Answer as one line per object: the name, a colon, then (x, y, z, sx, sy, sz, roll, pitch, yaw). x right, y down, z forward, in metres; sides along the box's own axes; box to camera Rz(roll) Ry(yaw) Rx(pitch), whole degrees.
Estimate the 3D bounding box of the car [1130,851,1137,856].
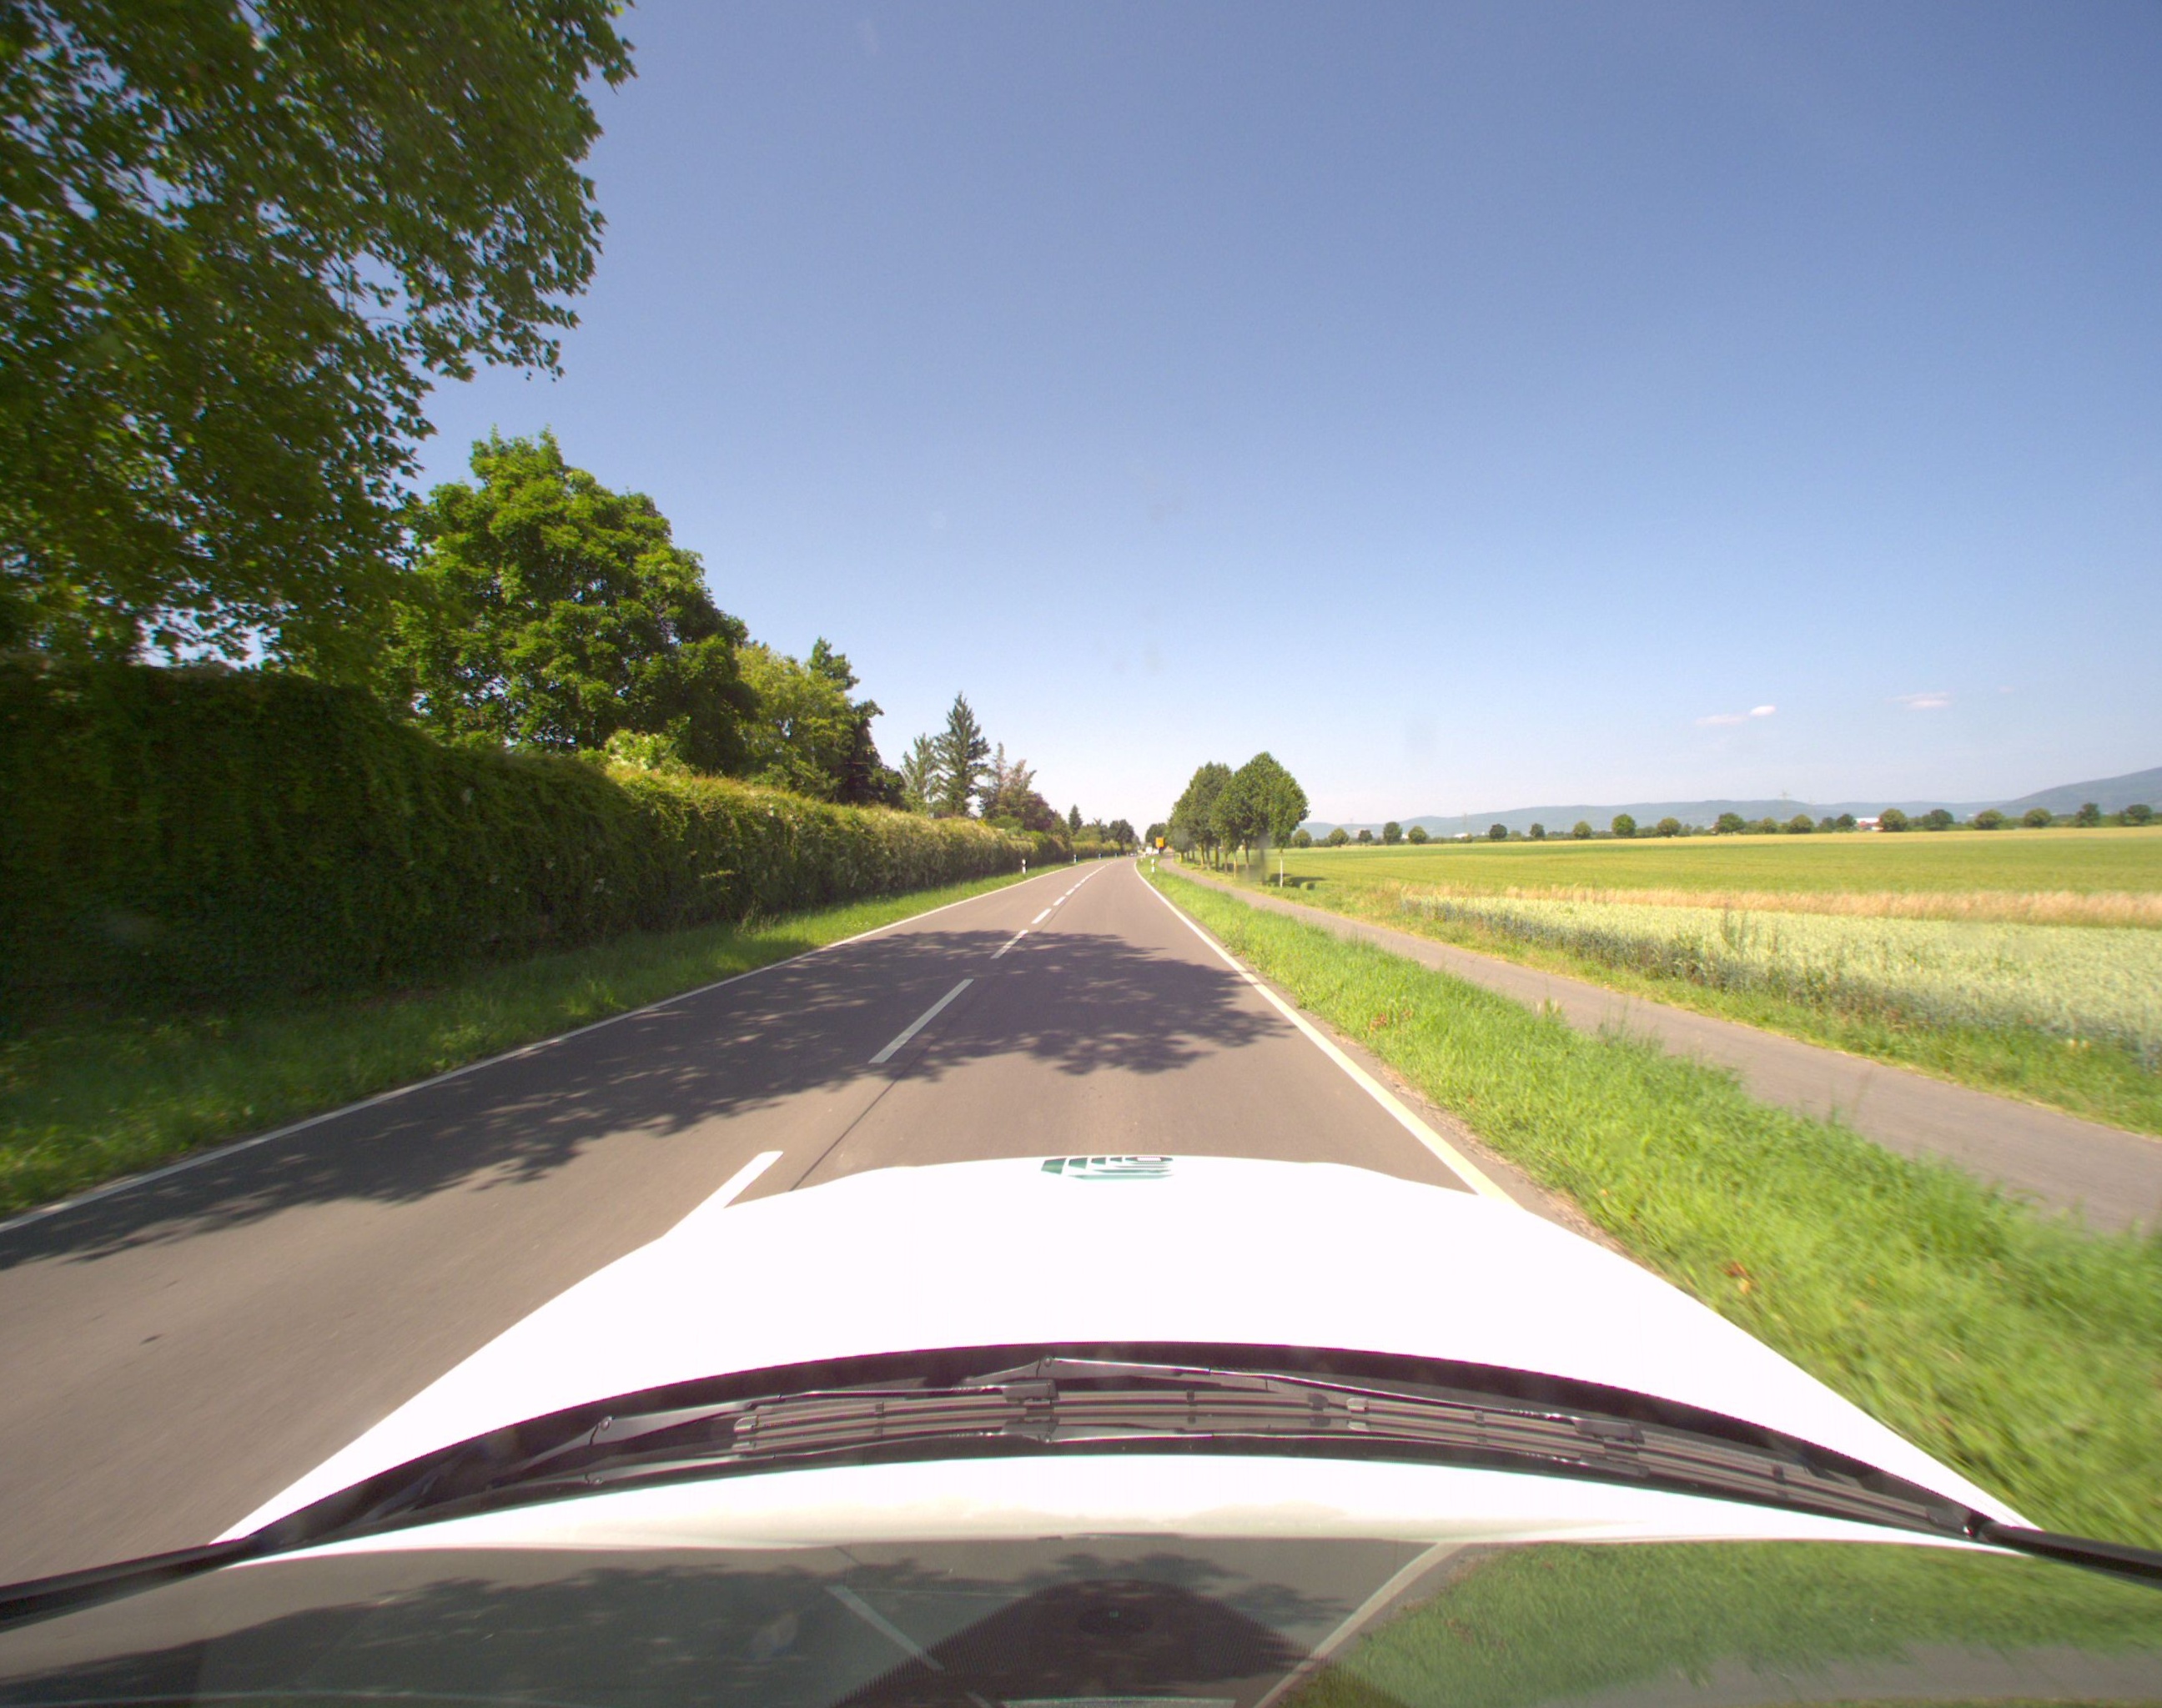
car: (15.489, -0.191, 239.466, 1.832, 1.467, 3.936, -1, 0, 3)
